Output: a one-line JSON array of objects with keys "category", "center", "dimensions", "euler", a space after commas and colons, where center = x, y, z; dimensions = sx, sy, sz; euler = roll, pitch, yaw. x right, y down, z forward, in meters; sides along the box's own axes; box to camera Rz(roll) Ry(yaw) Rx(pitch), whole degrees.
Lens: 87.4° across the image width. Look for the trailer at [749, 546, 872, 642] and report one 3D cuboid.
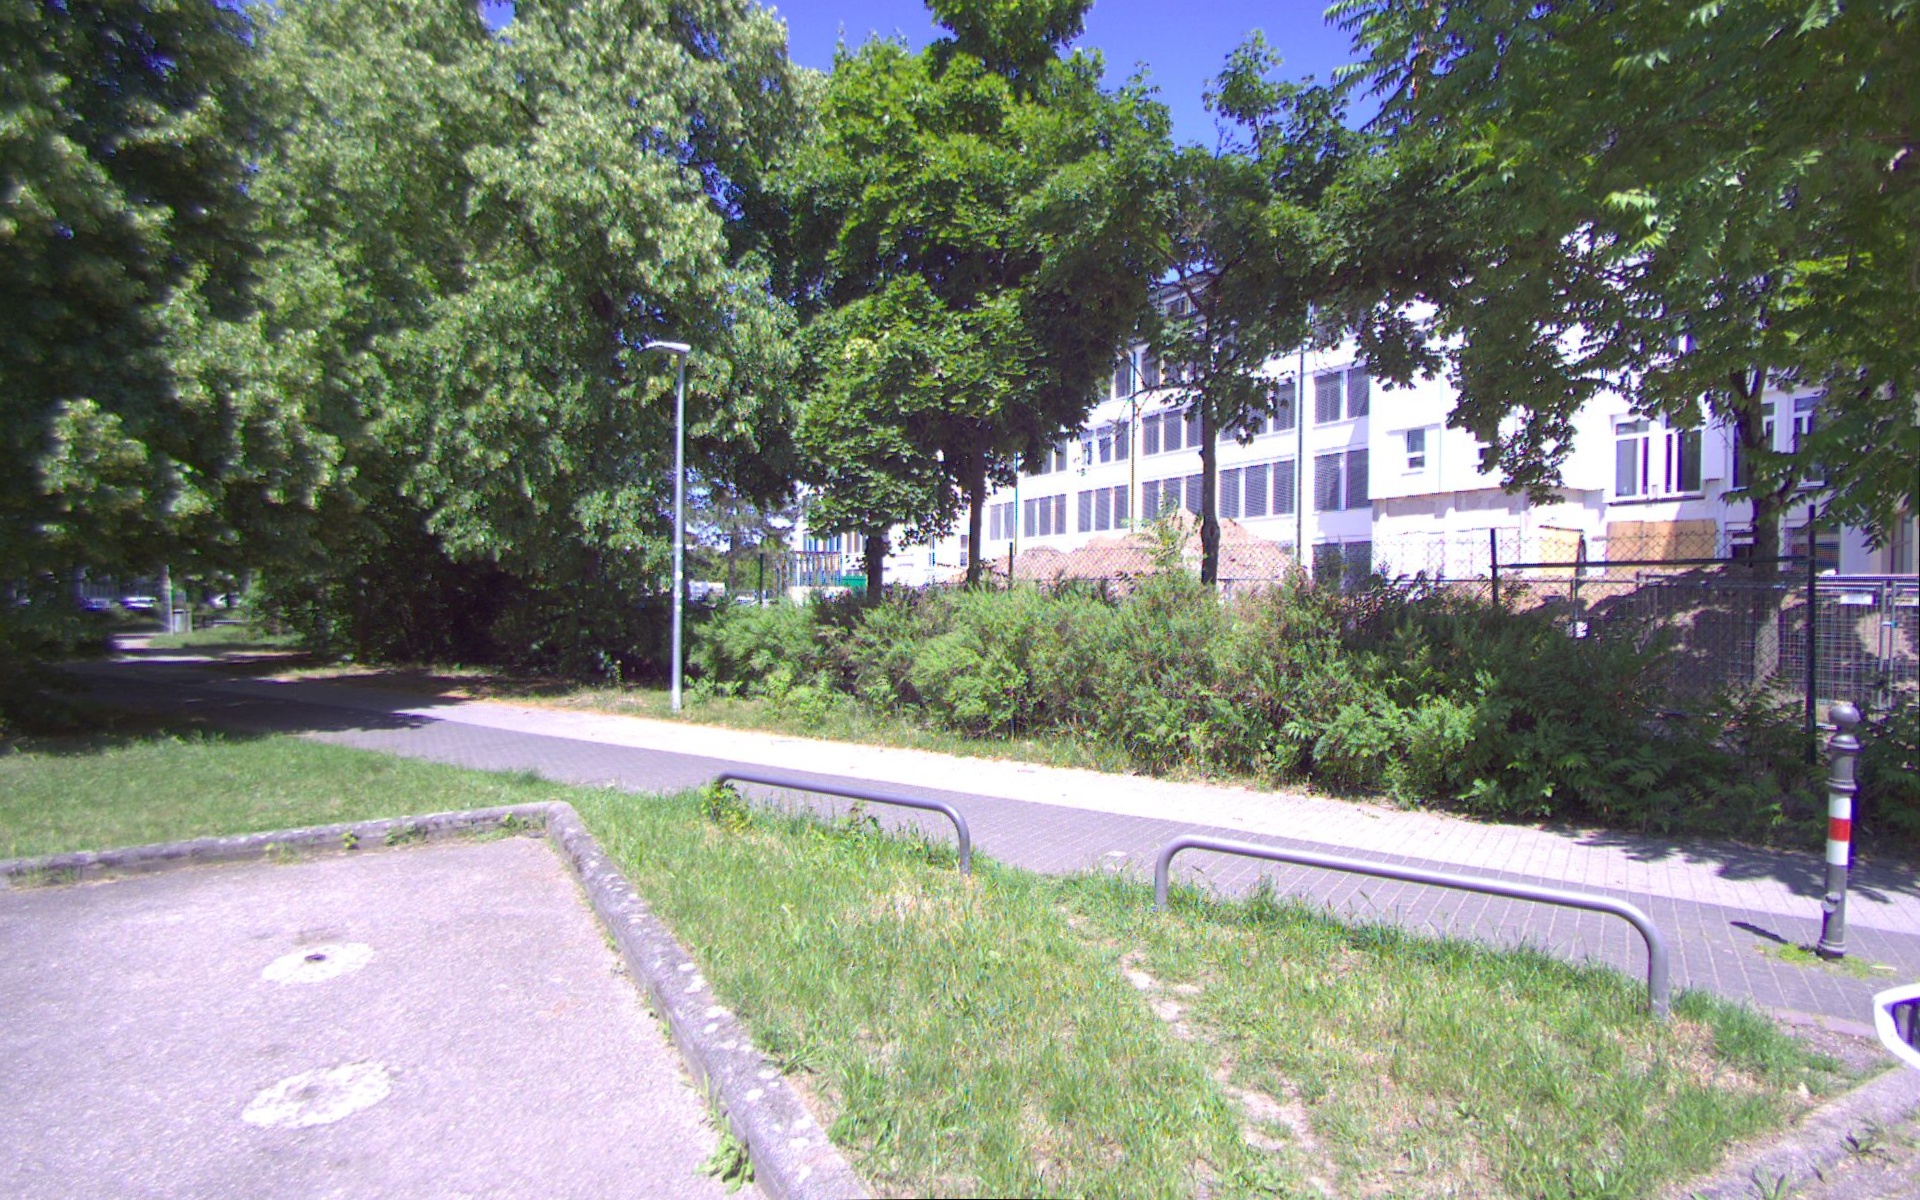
[{"category": "trailer", "center": [-6.377, -0.232, 41.342], "dimensions": [2.998, 3.467, 8.725], "euler": [1, 0, -22]}]
